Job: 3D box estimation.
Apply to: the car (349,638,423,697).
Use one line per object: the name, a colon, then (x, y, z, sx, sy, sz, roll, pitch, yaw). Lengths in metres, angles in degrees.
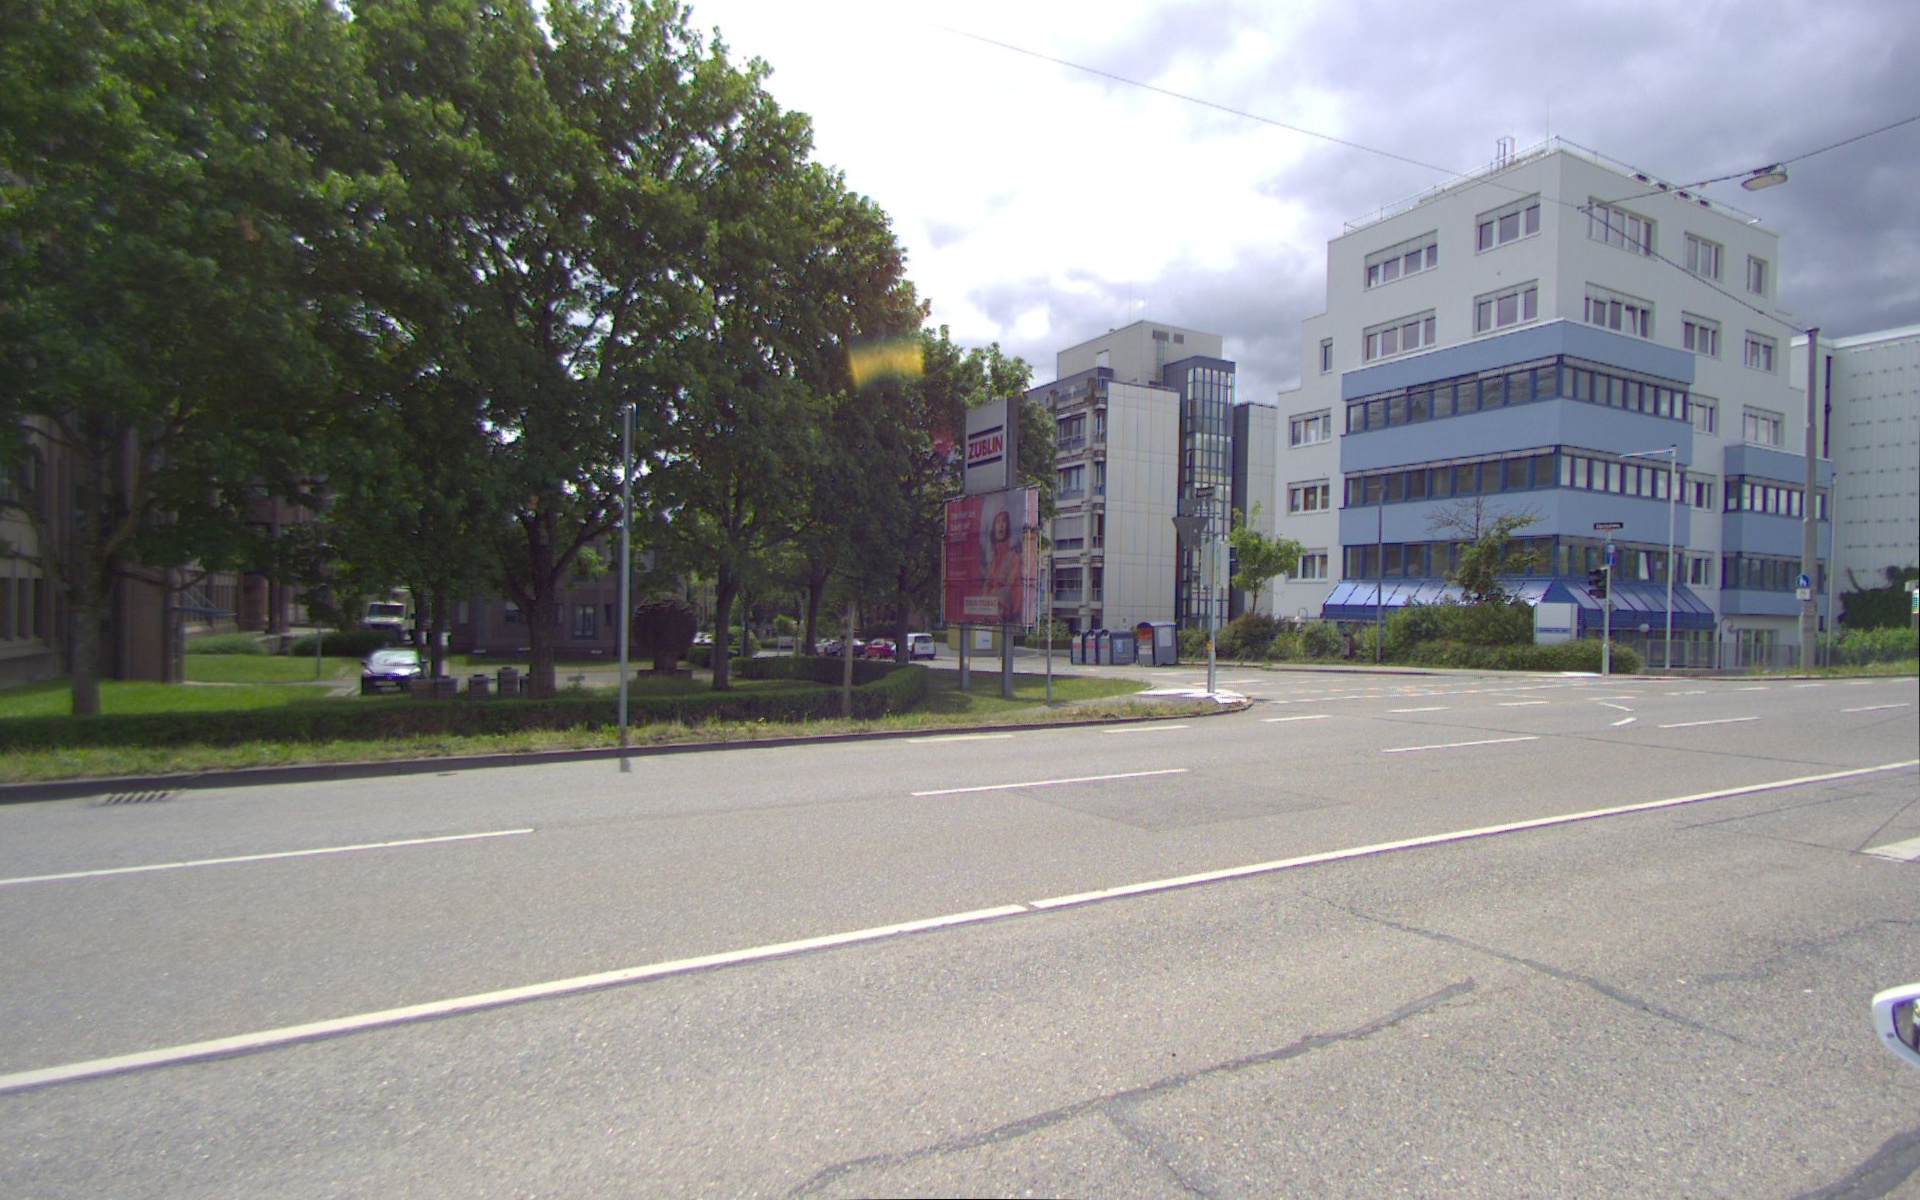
car: (-18.305, 2.136, 32.153, 1.763, 1.750, 3.975, 1, -3, -26)

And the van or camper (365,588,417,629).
van or camper: (-31.675, 0.474, 55.837, 2.332, 2.132, 5.161, 2, -1, -31)

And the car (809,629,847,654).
car: (-11.004, 3.434, 83.473, 1.875, 1.919, 3.973, 2, -1, -26)

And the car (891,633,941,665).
car: (-3.045, 3.332, 68.366, 1.974, 2.006, 3.974, 2, -1, -26)

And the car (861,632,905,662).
car: (-5.644, 3.403, 73.271, 1.868, 2.040, 3.974, 2, -1, -26)

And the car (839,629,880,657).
car: (-7.882, 3.360, 78.317, 1.848, 2.040, 3.973, 2, -1, -26)
